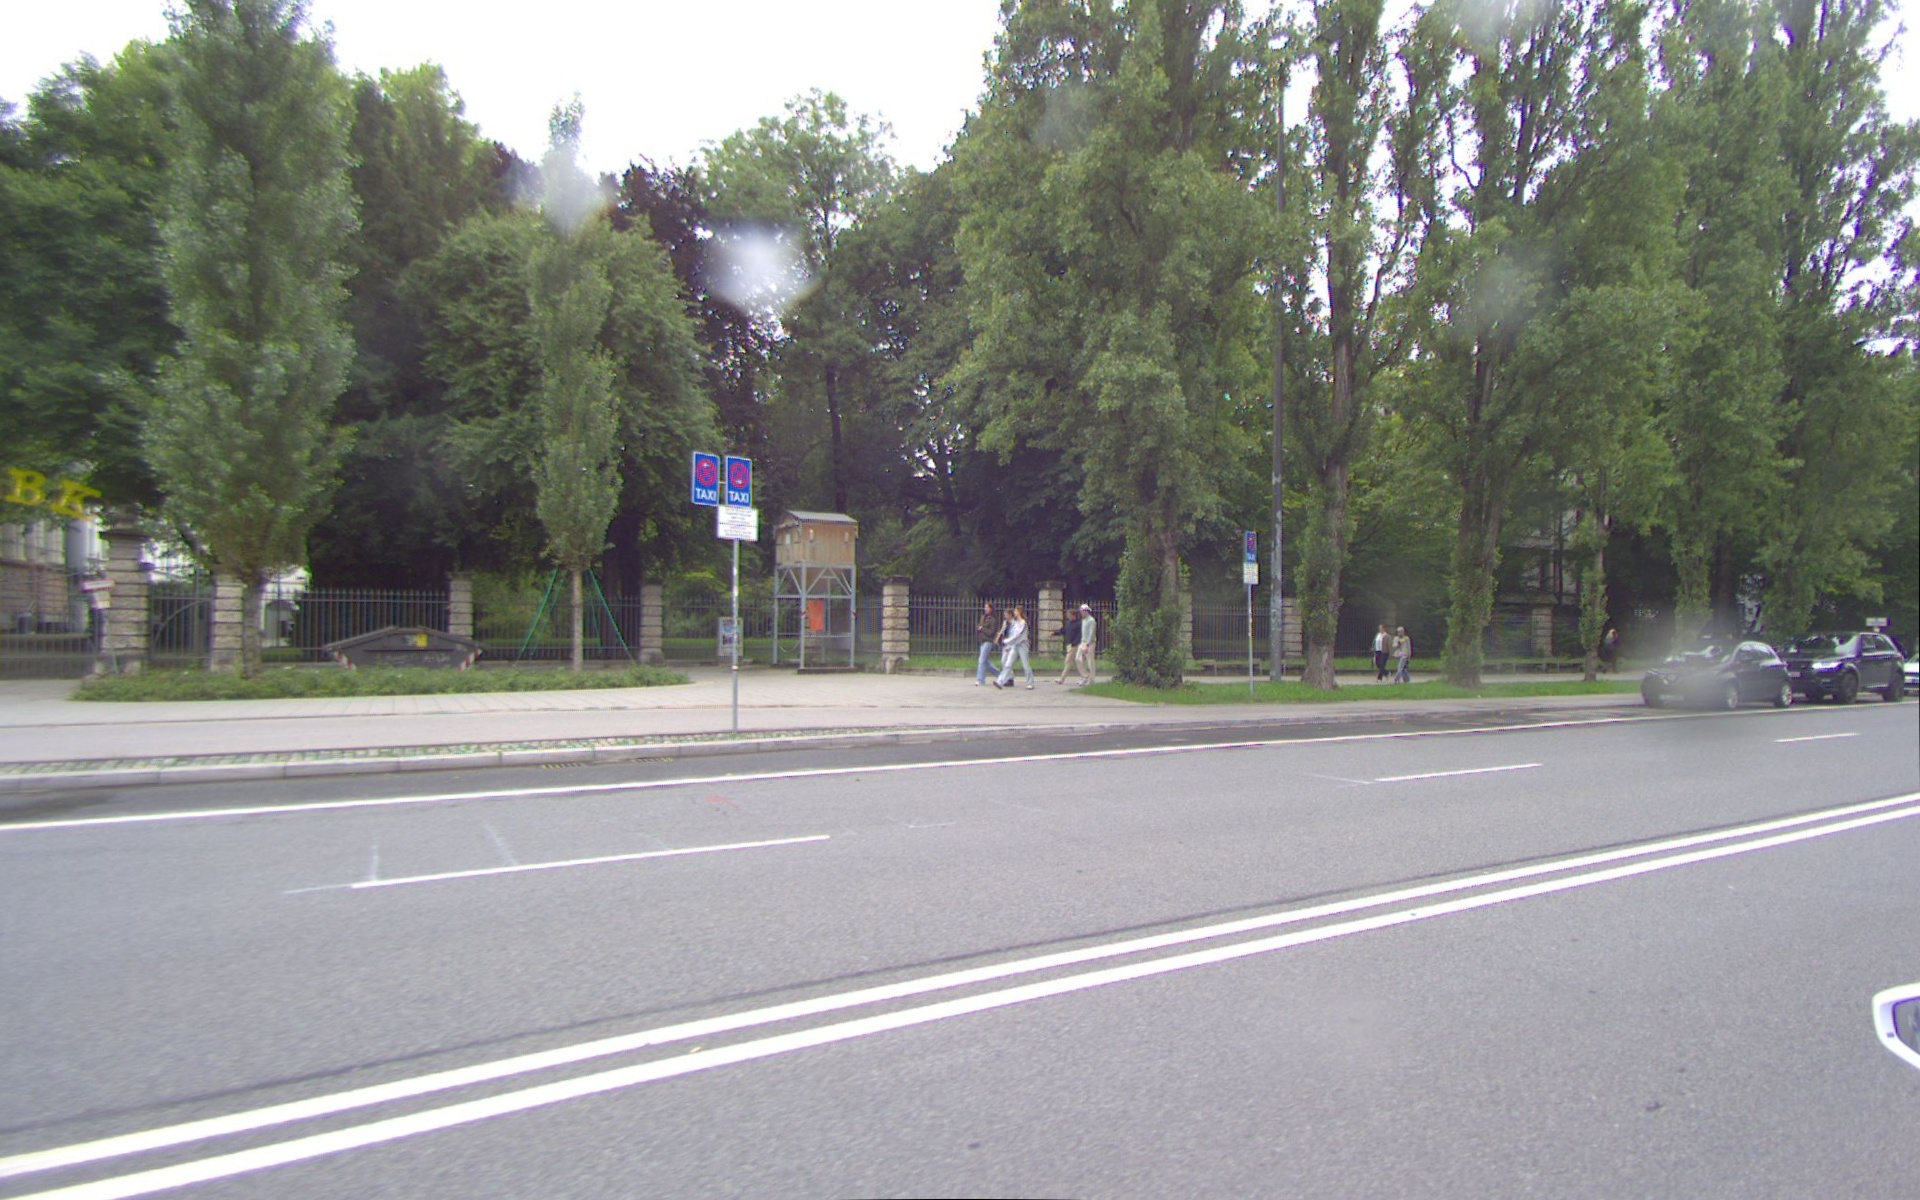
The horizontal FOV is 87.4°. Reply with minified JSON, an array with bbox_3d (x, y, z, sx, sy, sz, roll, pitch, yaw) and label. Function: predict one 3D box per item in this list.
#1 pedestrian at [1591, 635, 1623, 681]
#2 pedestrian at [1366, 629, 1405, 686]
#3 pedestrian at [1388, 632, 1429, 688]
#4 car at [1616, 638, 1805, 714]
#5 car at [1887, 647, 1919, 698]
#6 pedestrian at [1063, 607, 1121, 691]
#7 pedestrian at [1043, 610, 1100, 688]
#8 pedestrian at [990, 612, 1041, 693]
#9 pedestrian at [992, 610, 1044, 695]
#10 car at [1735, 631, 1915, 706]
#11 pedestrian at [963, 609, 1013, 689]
[{"bbox_3d":[25.035,2.241,38.869,0.945,1.764,0.663,1,-1,-29],"label":"pedestrian"},{"bbox_3d":[12.427,1.658,29.307,0.804,1.626,0.714,1,-1,-31],"label":"pedestrian"},{"bbox_3d":[12.725,1.690,28.489,0.865,1.569,0.714,1,-1,-31],"label":"pedestrian"},{"bbox_3d":[17.511,1.725,23.411,4.336,1.604,1.936,2,-3,-30],"label":"car"},{"bbox_3d":[30.116,2.179,30.499,4.223,1.478,1.696,2,-4,-30],"label":"car"},{"bbox_3d":[3.035,1.121,23.139,1.080,1.858,0.706,2,0,-31],"label":"pedestrian"},{"bbox_3d":[2.639,1.145,23.736,1.080,1.796,0.706,2,0,-31],"label":"pedestrian"},{"bbox_3d":[1.205,1.130,21.975,0.875,1.722,0.684,1,-1,-30],"label":"pedestrian"},{"bbox_3d":[1.238,1.099,21.381,0.897,1.770,0.626,1,-1,-30],"label":"pedestrian"},{"bbox_3d":[22.641,1.772,26.264,4.741,1.809,2.038,2,-4,-29],"label":"car"},{"bbox_3d":[0.627,1.082,22.446,0.900,1.739,0.656,1,-1,-30],"label":"pedestrian"}]
